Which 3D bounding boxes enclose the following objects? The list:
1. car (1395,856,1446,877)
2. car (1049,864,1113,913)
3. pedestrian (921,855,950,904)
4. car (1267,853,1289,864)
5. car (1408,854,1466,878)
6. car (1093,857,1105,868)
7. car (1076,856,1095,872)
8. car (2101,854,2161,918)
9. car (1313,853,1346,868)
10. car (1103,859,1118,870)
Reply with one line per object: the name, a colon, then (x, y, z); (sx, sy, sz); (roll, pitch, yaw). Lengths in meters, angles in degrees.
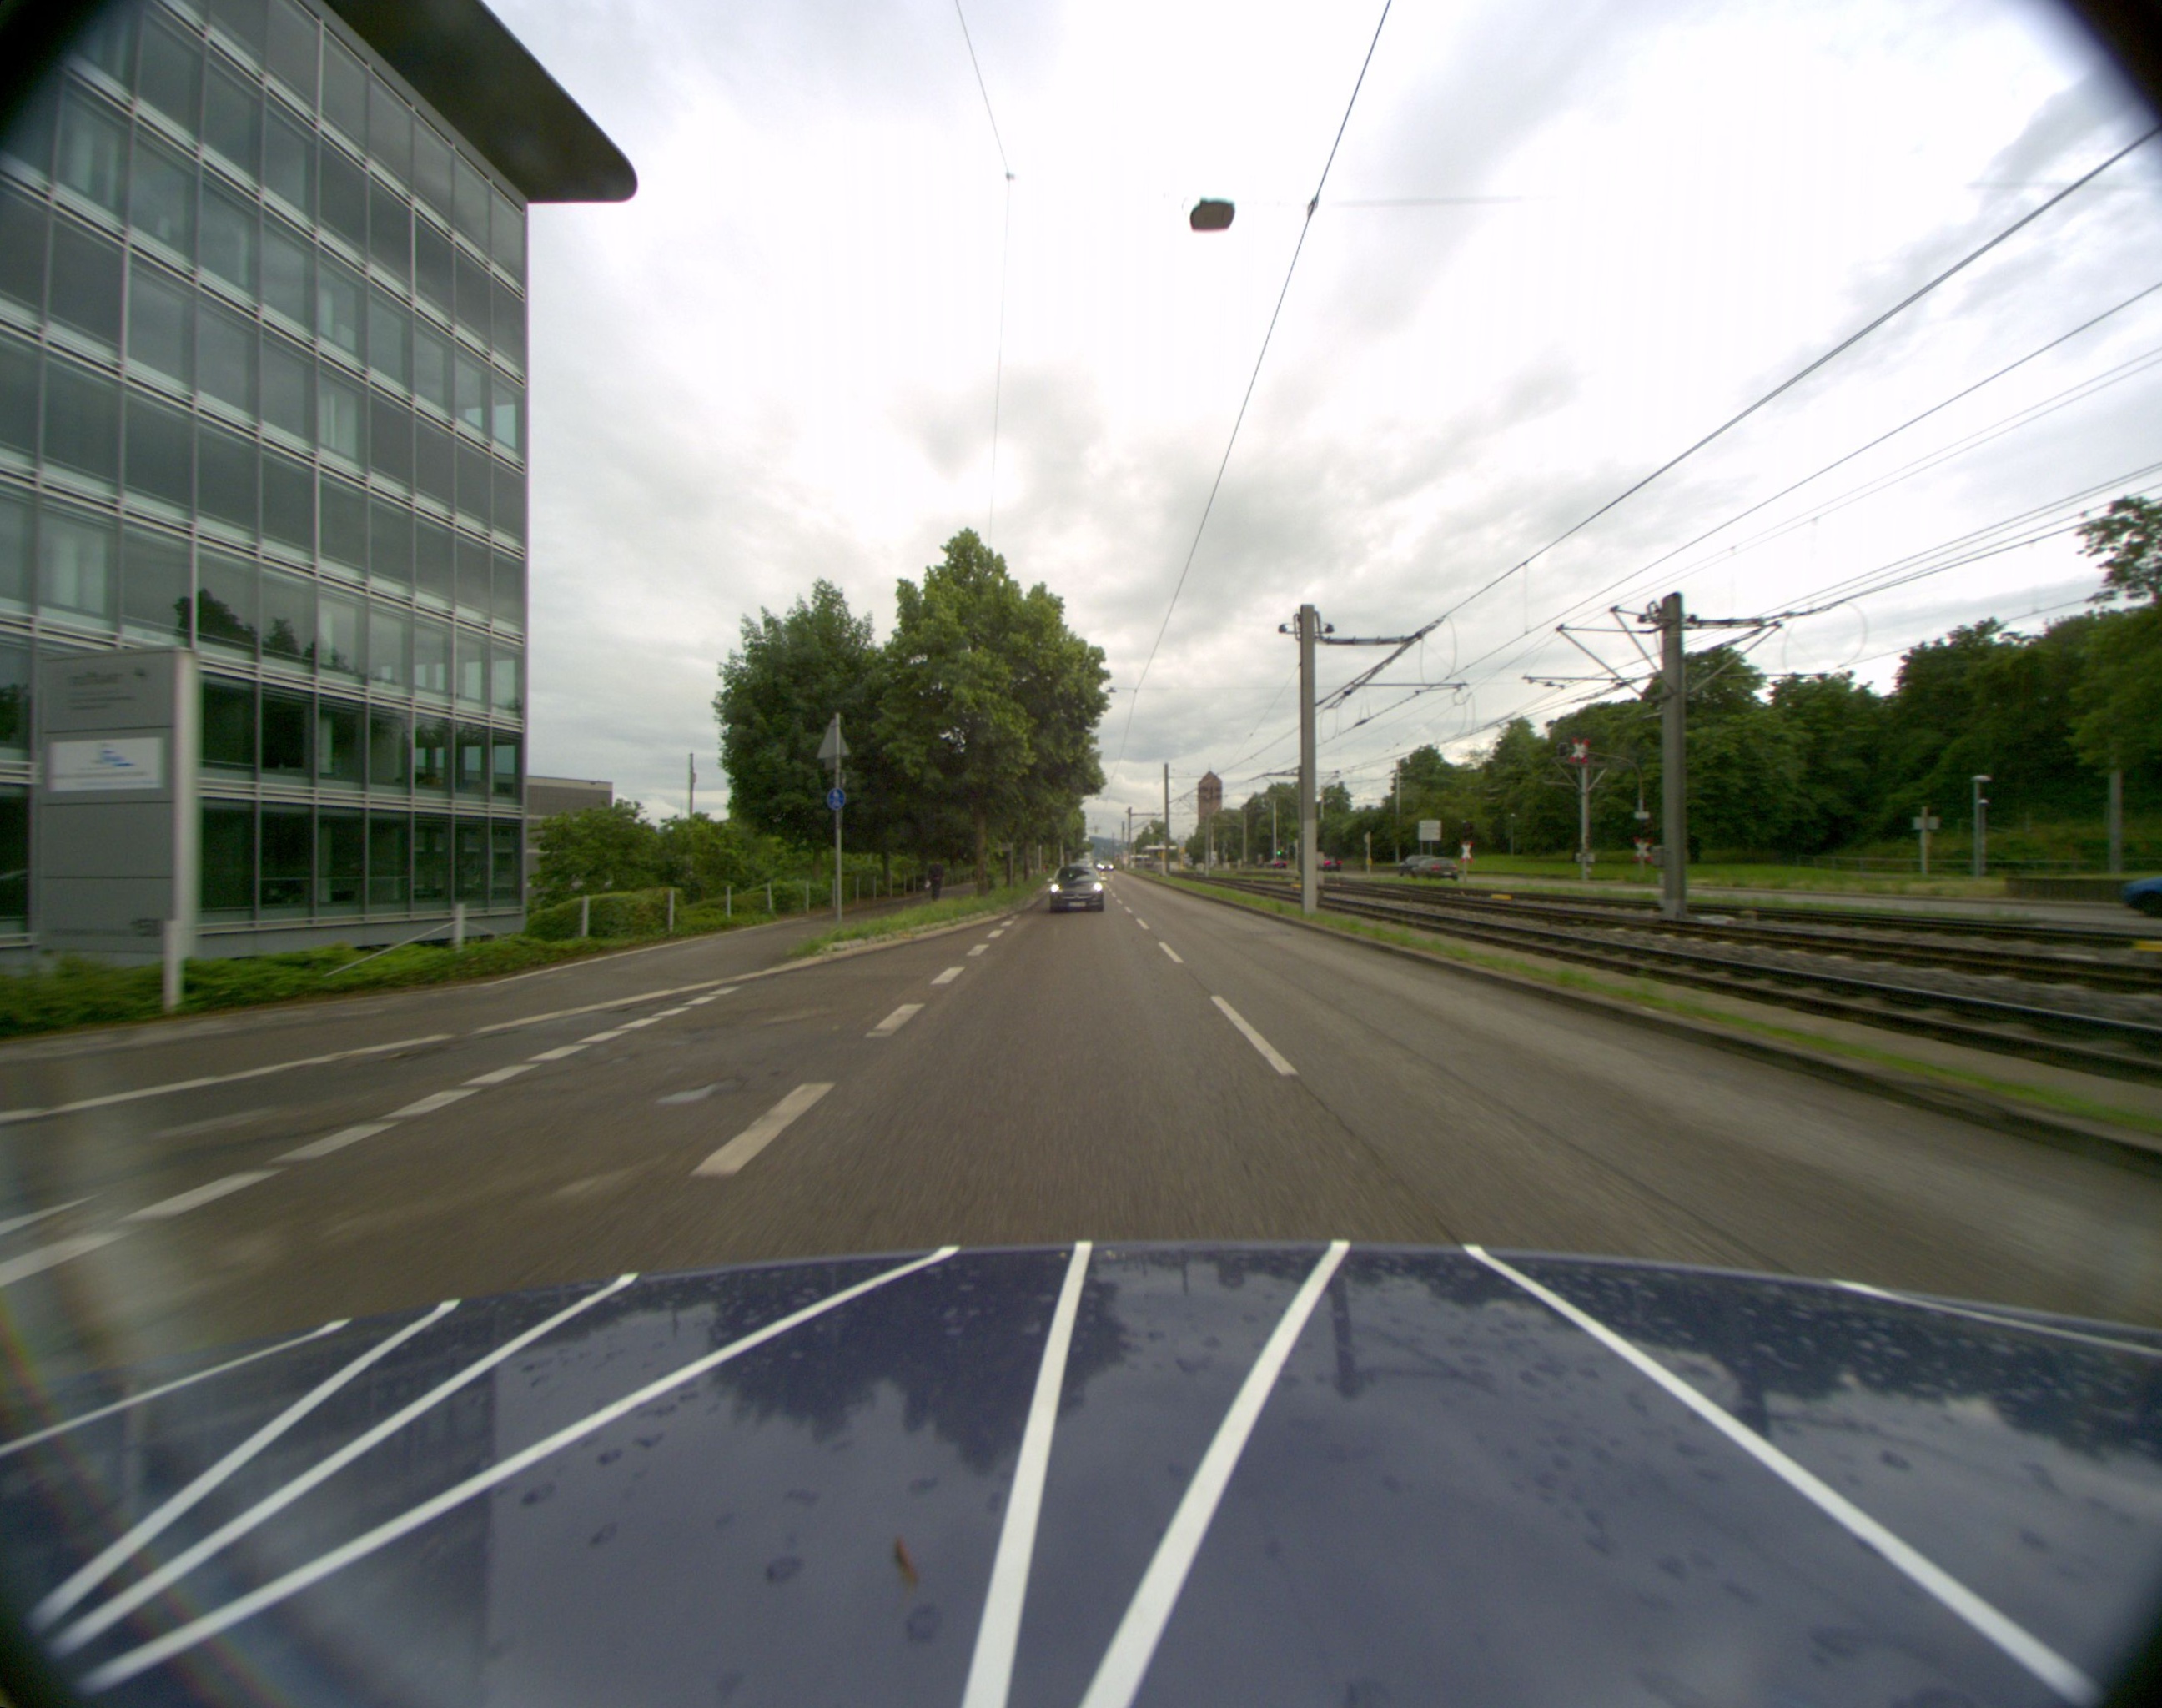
car: (26.234, 0.958, 58.923); (1.952, 1.586, 4.848); (-1, 0, 3)
car: (0.022, 1.096, 25.268); (1.899, 1.432, 4.474); (-1, -1, 1)
pedestrian: (-5.472, 0.937, 28.625); (0.828, 1.786, 0.867); (-2, 0, 1)
car: (27.077, 0.632, 104.570); (1.932, 1.438, 4.682); (0, 0, 1)
car: (22.831, 0.744, 48.944); (1.895, 1.477, 4.309); (-1, 0, 3)
car: (2.813, 1.352, 119.336); (1.812, 1.566, 3.971); (-2, 0, 1)
car: (0.501, 1.095, 81.870); (1.998, 1.608, 4.000); (-1, 0, 0)
car: (24.341, 0.677, 15.559); (1.765, 1.389, 3.901); (-1, 0, 3)
car: (27.157, 0.680, 83.206); (2.094, 1.579, 5.159); (-1, 0, 2)
car: (3.899, 1.463, 102.021); (1.899, 1.432, 4.247); (-1, -1, 1)
